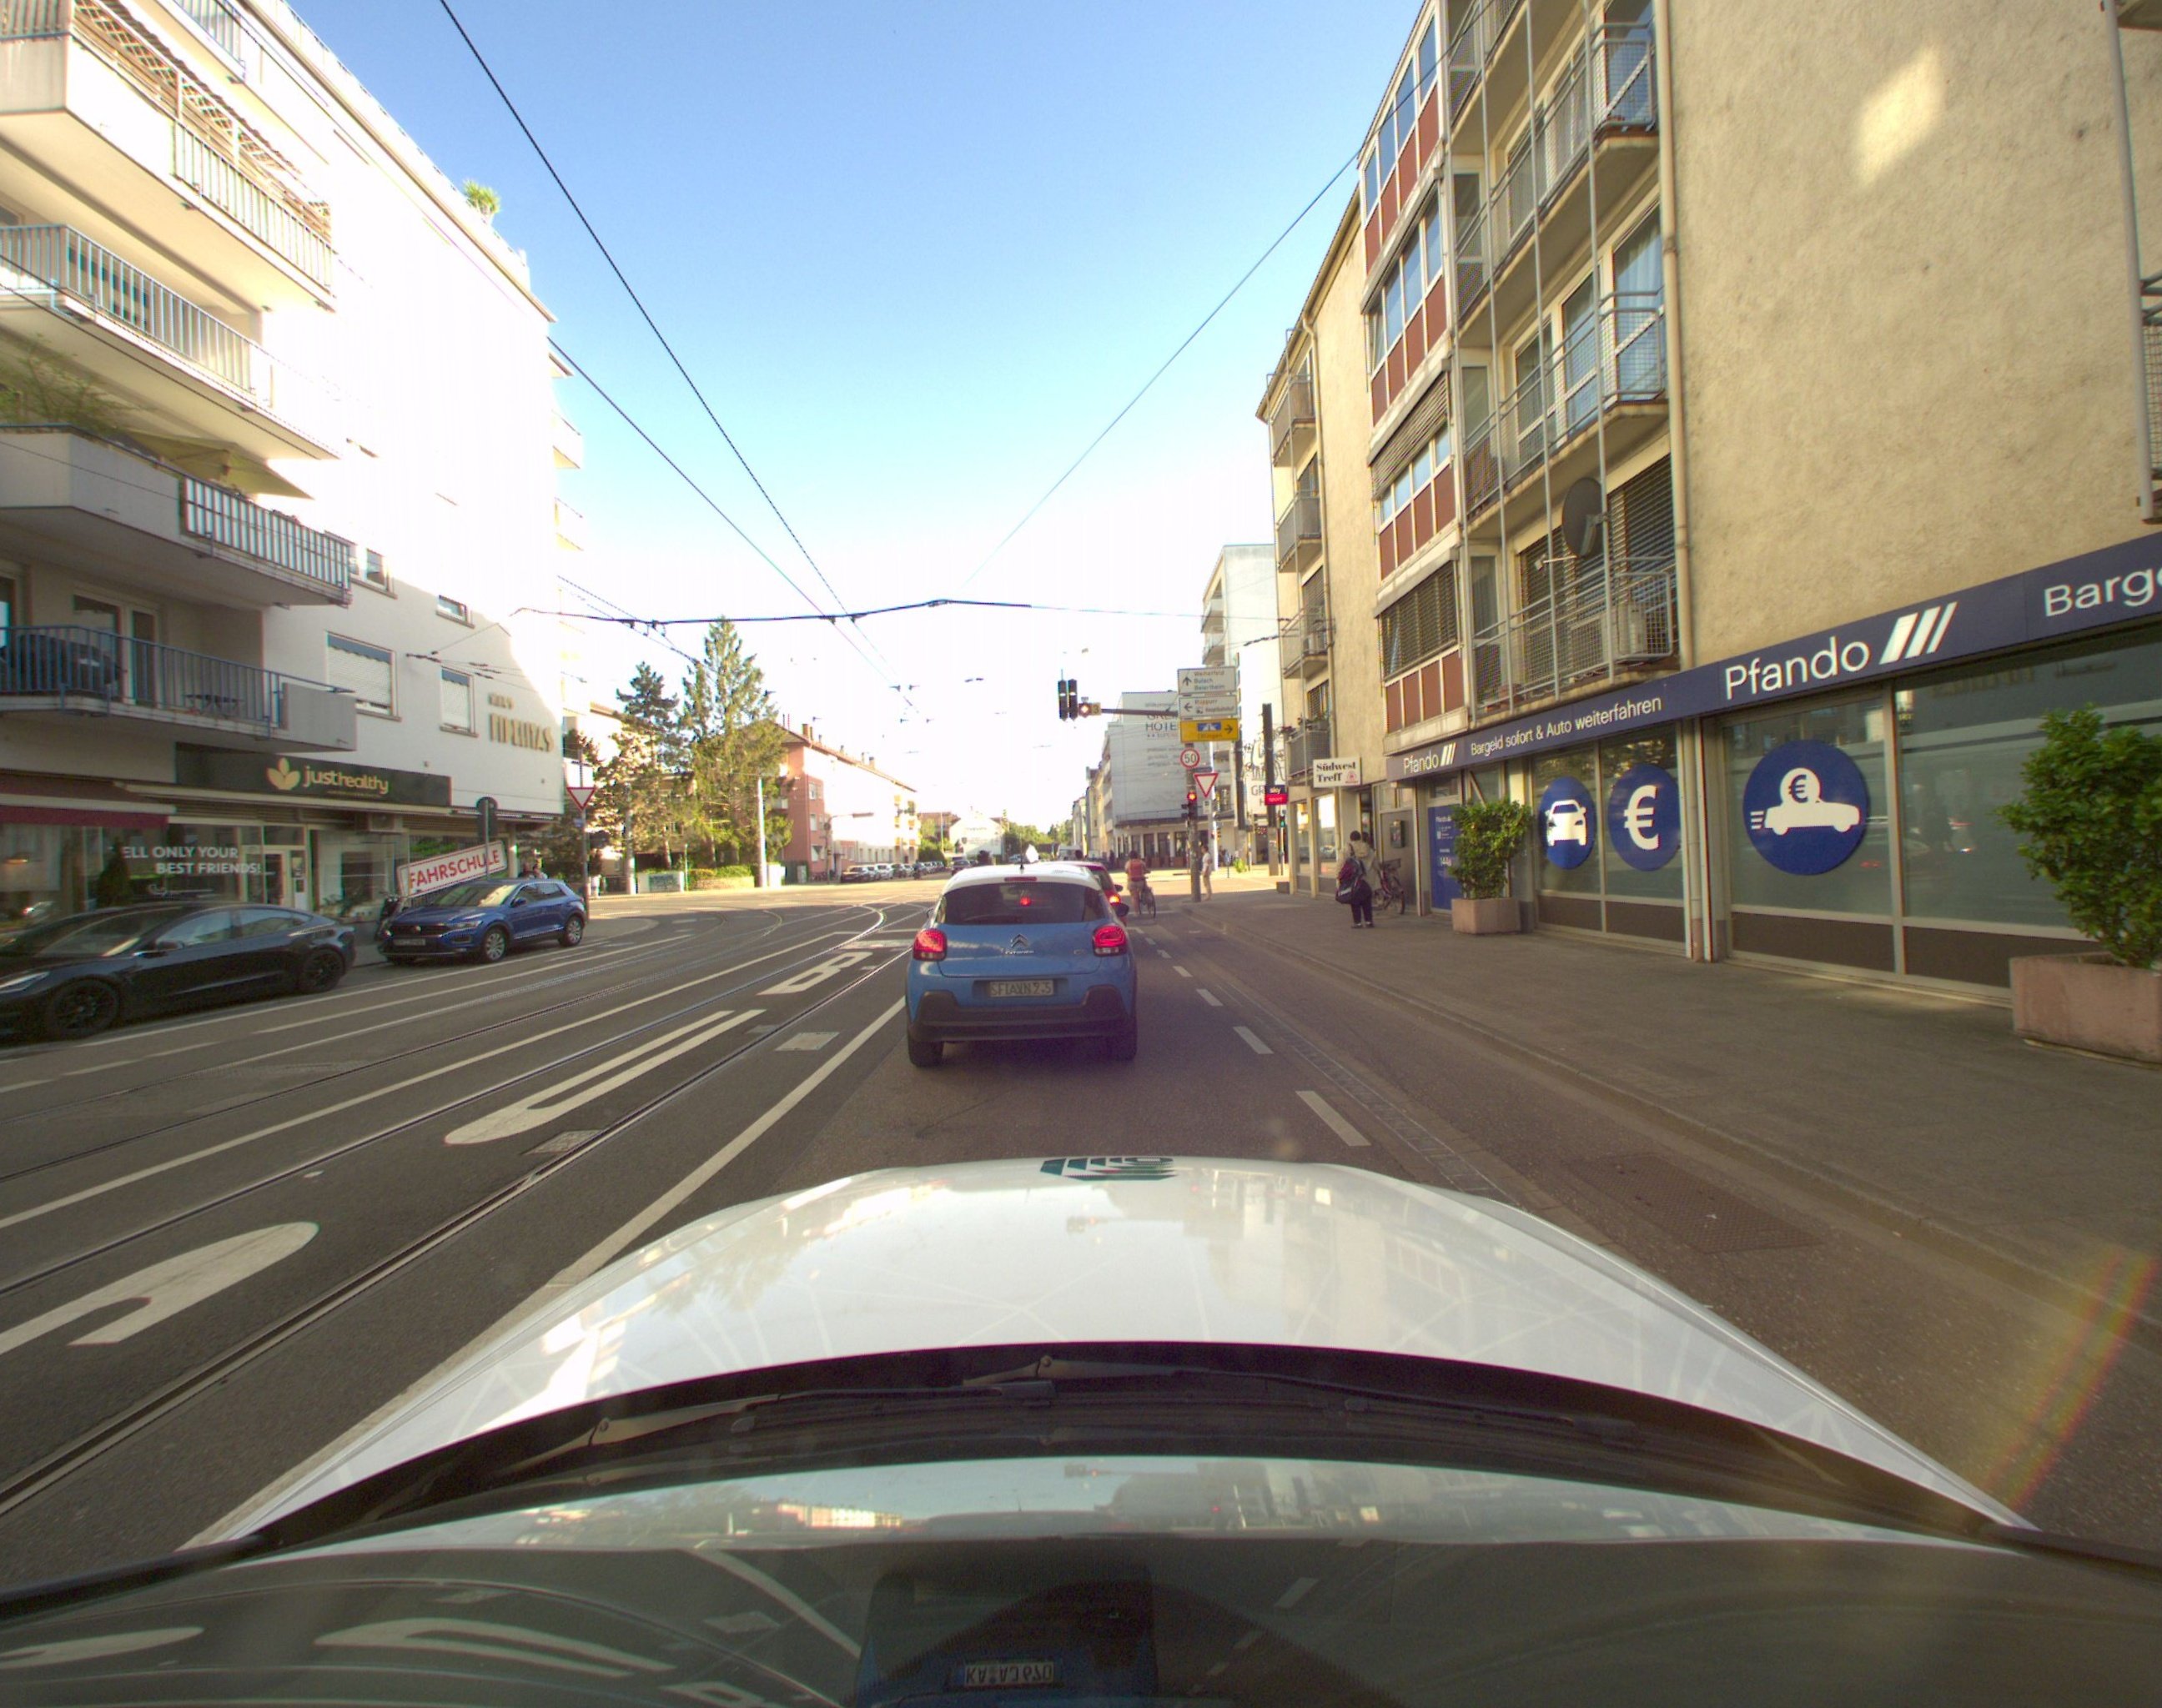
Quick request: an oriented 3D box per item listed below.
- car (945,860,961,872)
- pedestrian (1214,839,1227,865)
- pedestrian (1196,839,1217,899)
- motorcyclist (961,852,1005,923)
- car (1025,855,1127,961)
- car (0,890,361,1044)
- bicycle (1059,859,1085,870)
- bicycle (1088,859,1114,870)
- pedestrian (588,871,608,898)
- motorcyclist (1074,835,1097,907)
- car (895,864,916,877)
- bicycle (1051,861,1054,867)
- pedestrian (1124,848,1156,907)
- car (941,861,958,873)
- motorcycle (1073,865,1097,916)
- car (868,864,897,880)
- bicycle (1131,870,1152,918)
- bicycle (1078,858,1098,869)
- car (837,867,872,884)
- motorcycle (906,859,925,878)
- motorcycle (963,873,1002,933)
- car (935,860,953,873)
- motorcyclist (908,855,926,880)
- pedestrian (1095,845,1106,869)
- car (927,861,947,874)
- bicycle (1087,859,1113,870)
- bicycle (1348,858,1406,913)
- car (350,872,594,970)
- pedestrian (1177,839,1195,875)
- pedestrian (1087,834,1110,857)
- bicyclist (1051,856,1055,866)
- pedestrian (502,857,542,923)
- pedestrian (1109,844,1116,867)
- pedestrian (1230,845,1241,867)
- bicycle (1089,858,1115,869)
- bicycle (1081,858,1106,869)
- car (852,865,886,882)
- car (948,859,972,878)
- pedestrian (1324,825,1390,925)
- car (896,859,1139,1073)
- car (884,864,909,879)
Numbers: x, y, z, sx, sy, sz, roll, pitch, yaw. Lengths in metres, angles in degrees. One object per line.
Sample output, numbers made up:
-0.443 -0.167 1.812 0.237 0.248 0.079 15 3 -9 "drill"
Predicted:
-19.114 1.764 121.947 1.841 1.687 3.872 0 -1 -1 "car"
10.742 -0.145 62.520 0.750 2.014 0.716 -1 -1 33 "pedestrian"
3.750 0.442 24.281 0.515 1.783 0.595 0 -1 0 "pedestrian"
-2.107 0.715 17.600 0.857 1.505 0.598 0 -1 1 "motorcyclist"
-0.030 0.796 13.243 1.419 1.467 2.925 -2 -1 2 "car"
-12.087 1.294 10.439 1.816 1.387 4.425 -2 0 -2 "car"
-0.721 0.880 66.483 2.130 0.901 0.366 0 -1 -7 "bicycle"
1.619 0.868 67.106 2.130 0.901 0.366 0 -1 -7 "bicycle"
-31.960 2.001 53.897 0.902 1.791 0.803 0 -1 -16 "pedestrian"
0.122 0.404 19.747 0.524 1.716 0.717 0 -1 1 "motorcyclist"
-19.968 1.850 92.773 1.728 1.498 3.996 0 -1 -2 "car"
-4.069 1.422 118.207 0.347 0.903 1.859 0 -1 0 "bicycle"
1.466 0.579 20.355 0.774 1.460 0.682 0 -1 1 "pedestrian"
-18.942 1.814 117.421 1.828 1.687 3.998 0 -1 -1 "car"
0.115 0.838 19.555 0.524 1.139 2.290 0 -1 2 "motorcycle"
-19.461 1.743 79.953 1.781 1.511 4.150 0 -1 1 "car"
1.519 0.978 20.587 0.426 1.123 1.999 0 -1 2 "bicycle"
0.579 0.821 69.399 1.765 0.901 0.369 -1 -1 36 "bicycle"
-19.281 1.813 69.415 1.787 1.421 3.996 0 -1 1 "car"
-13.661 1.164 67.334 0.921 1.486 3.724 0 -1 -1 "motorcycle"
-2.129 1.030 17.736 0.535 1.219 1.982 0 -1 2 "motorcycle"
-18.848 1.681 111.875 1.877 1.687 3.998 0 -1 -1 "car"
-13.618 1.110 67.597 1.182 2.013 1.275 -2 0 -1 "motorcyclist"
1.667 0.239 69.317 0.635 2.014 0.717 0 -1 -34 "pedestrian"
-18.853 1.759 106.596 1.978 1.687 3.998 0 -1 -1 "car"
1.574 0.863 67.517 2.130 0.901 0.366 0 -1 -7 "bicycle"
5.698 0.578 15.751 0.540 0.998 1.706 0 -1 2 "bicycle"
-11.890 1.219 16.306 1.864 1.531 4.068 -2 0 -2 "car"
6.061 0.175 46.961 0.922 2.014 0.760 0 -1 1 "pedestrian"
1.629 -0.725 73.688 1.986 2.014 4.001 0 -1 2 "pedestrian"
-4.073 1.008 118.023 0.559 1.477 0.748 0 -1 0 "bicyclist"
-17.389 1.100 25.353 0.767 2.014 0.694 0 -1 -4 "pedestrian"
2.685 0.145 70.340 0.575 2.014 0.625 0 -1 -1 "pedestrian"
11.040 0.156 58.094 0.730 1.601 0.751 -1 -1 15 "pedestrian"
1.713 0.773 66.049 2.130 0.901 0.366 0 -1 -7 "bicycle"
1.049 0.823 68.490 2.130 0.901 0.366 0 -1 -7 "bicycle"
-19.282 1.739 74.234 1.808 1.498 4.302 0 -1 2 "car"
-11.367 1.342 76.843 1.770 1.666 3.854 0 -1 -2 "car"
4.502 0.337 13.332 0.822 1.593 0.751 0 -1 1 "pedestrian"
-0.377 0.775 7.298 1.648 1.444 3.524 0 -1 2 "car"
-19.654 1.860 86.726 1.781 1.498 3.998 0 -1 -1 "car"
